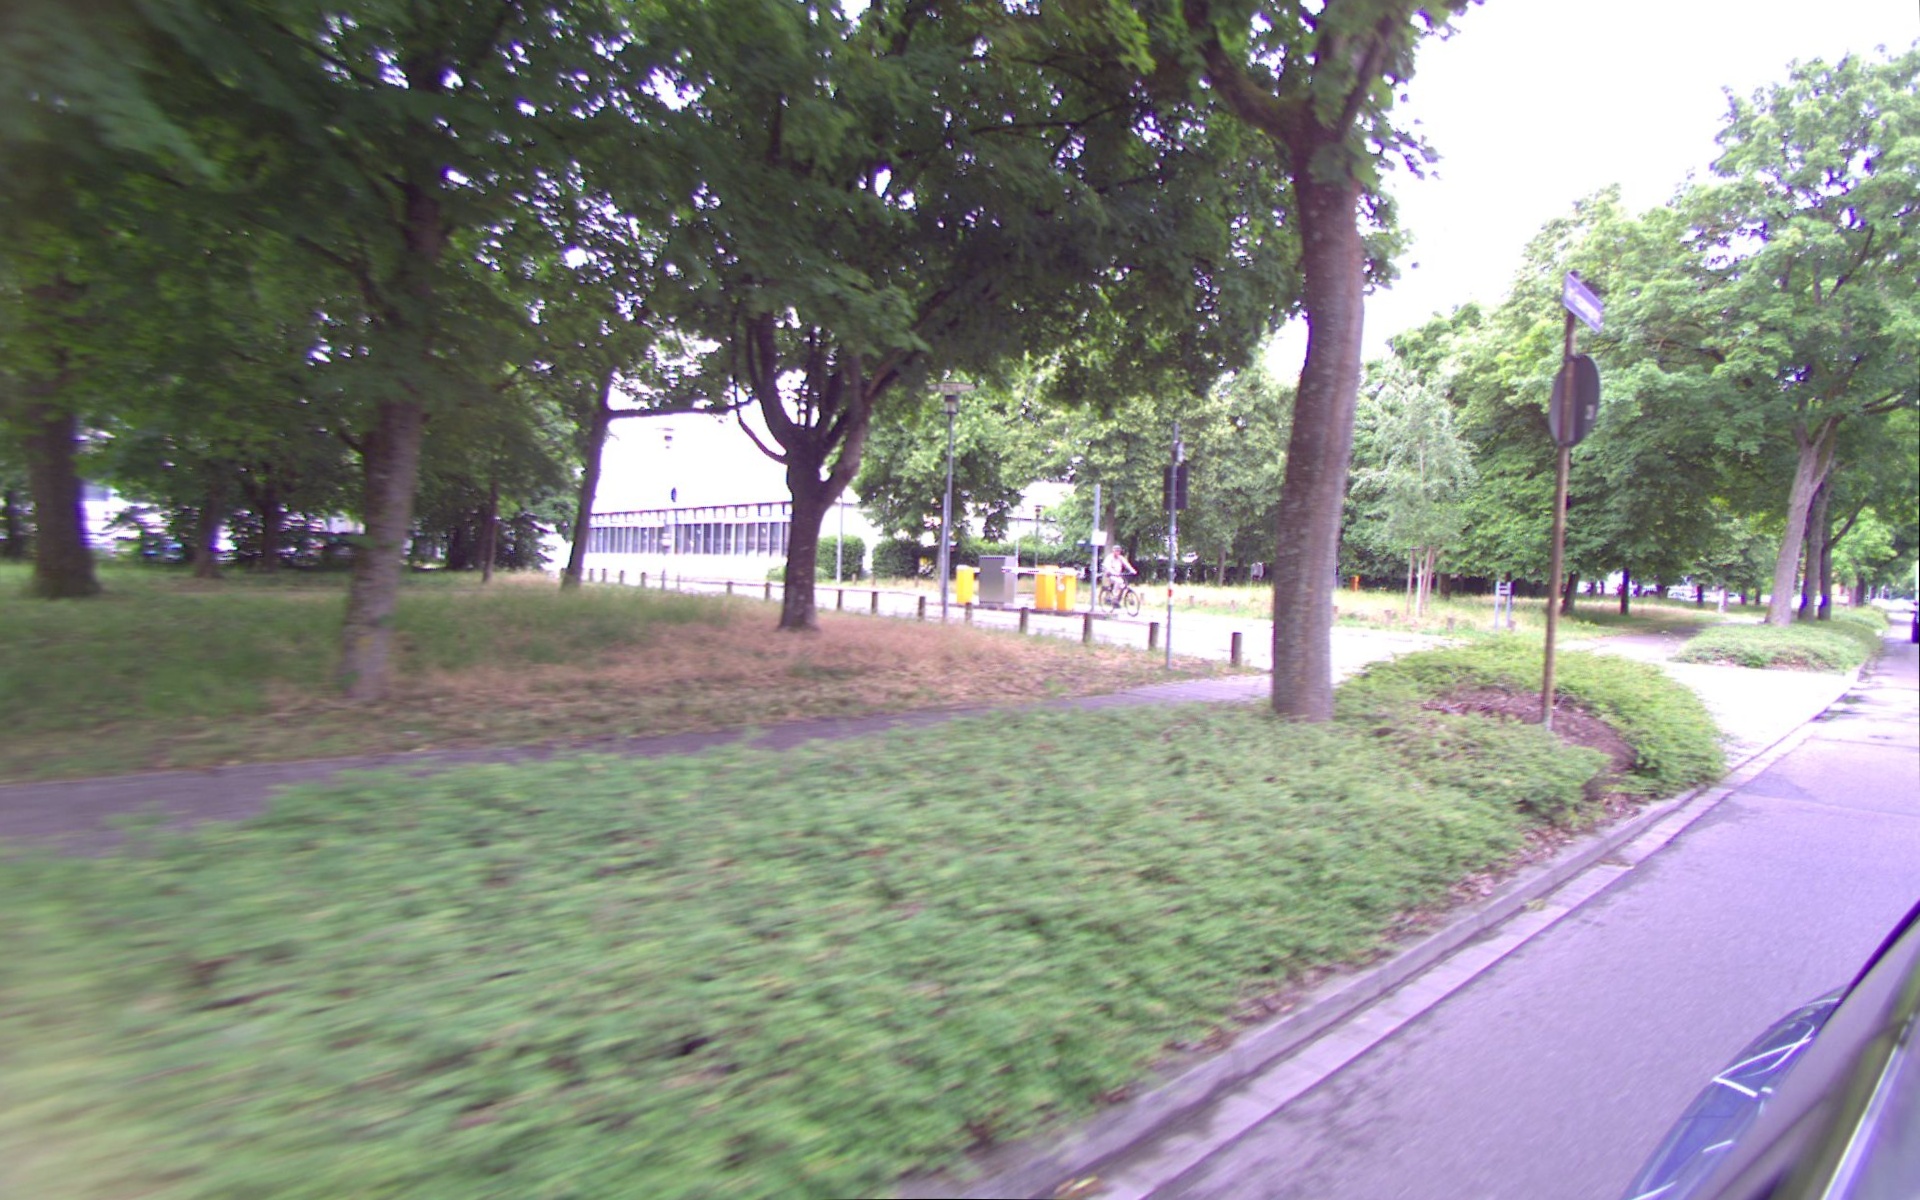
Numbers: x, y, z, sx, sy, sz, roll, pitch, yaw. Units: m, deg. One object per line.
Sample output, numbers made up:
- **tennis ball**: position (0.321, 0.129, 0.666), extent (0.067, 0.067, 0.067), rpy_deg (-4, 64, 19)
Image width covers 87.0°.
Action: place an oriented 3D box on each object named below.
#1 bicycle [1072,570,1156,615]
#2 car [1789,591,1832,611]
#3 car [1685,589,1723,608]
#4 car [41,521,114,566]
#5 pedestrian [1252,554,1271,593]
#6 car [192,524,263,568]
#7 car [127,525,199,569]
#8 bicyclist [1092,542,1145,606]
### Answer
- **bicycle**: position (4.088, -0.212, 27.038), extent (0.854, 1.088, 2.138), rpy_deg (0, 3, -42)
- **car**: position (89.263, 0.088, 106.226), extent (3.294, 1.948, 1.787), rpy_deg (2, 0, 36)
- **car**: position (82.265, -0.148, 111.914), extent (3.294, 1.948, 1.787), rpy_deg (2, 0, 36)
- **car**: position (-37.325, -2.337, 42.763), extent (3.986, 1.749, 1.969), rpy_deg (1, 1, 43)
- **pedestrian**: position (14.391, -1.256, 48.303), extent (0.562, 1.820, 0.544), rpy_deg (1, 2, -33)
- **car**: position (-33.969, -2.478, 46.885), extent (3.987, 1.905, 1.969), rpy_deg (2, 1, 43)
- **car**: position (-35.609, -2.329, 45.168), extent (3.986, 1.816, 1.969), rpy_deg (1, 1, 43)
- **bicyclist**: position (4.216, -0.689, 26.866), extent (1.003, 1.665, 0.922), rpy_deg (0, 2, -42)
